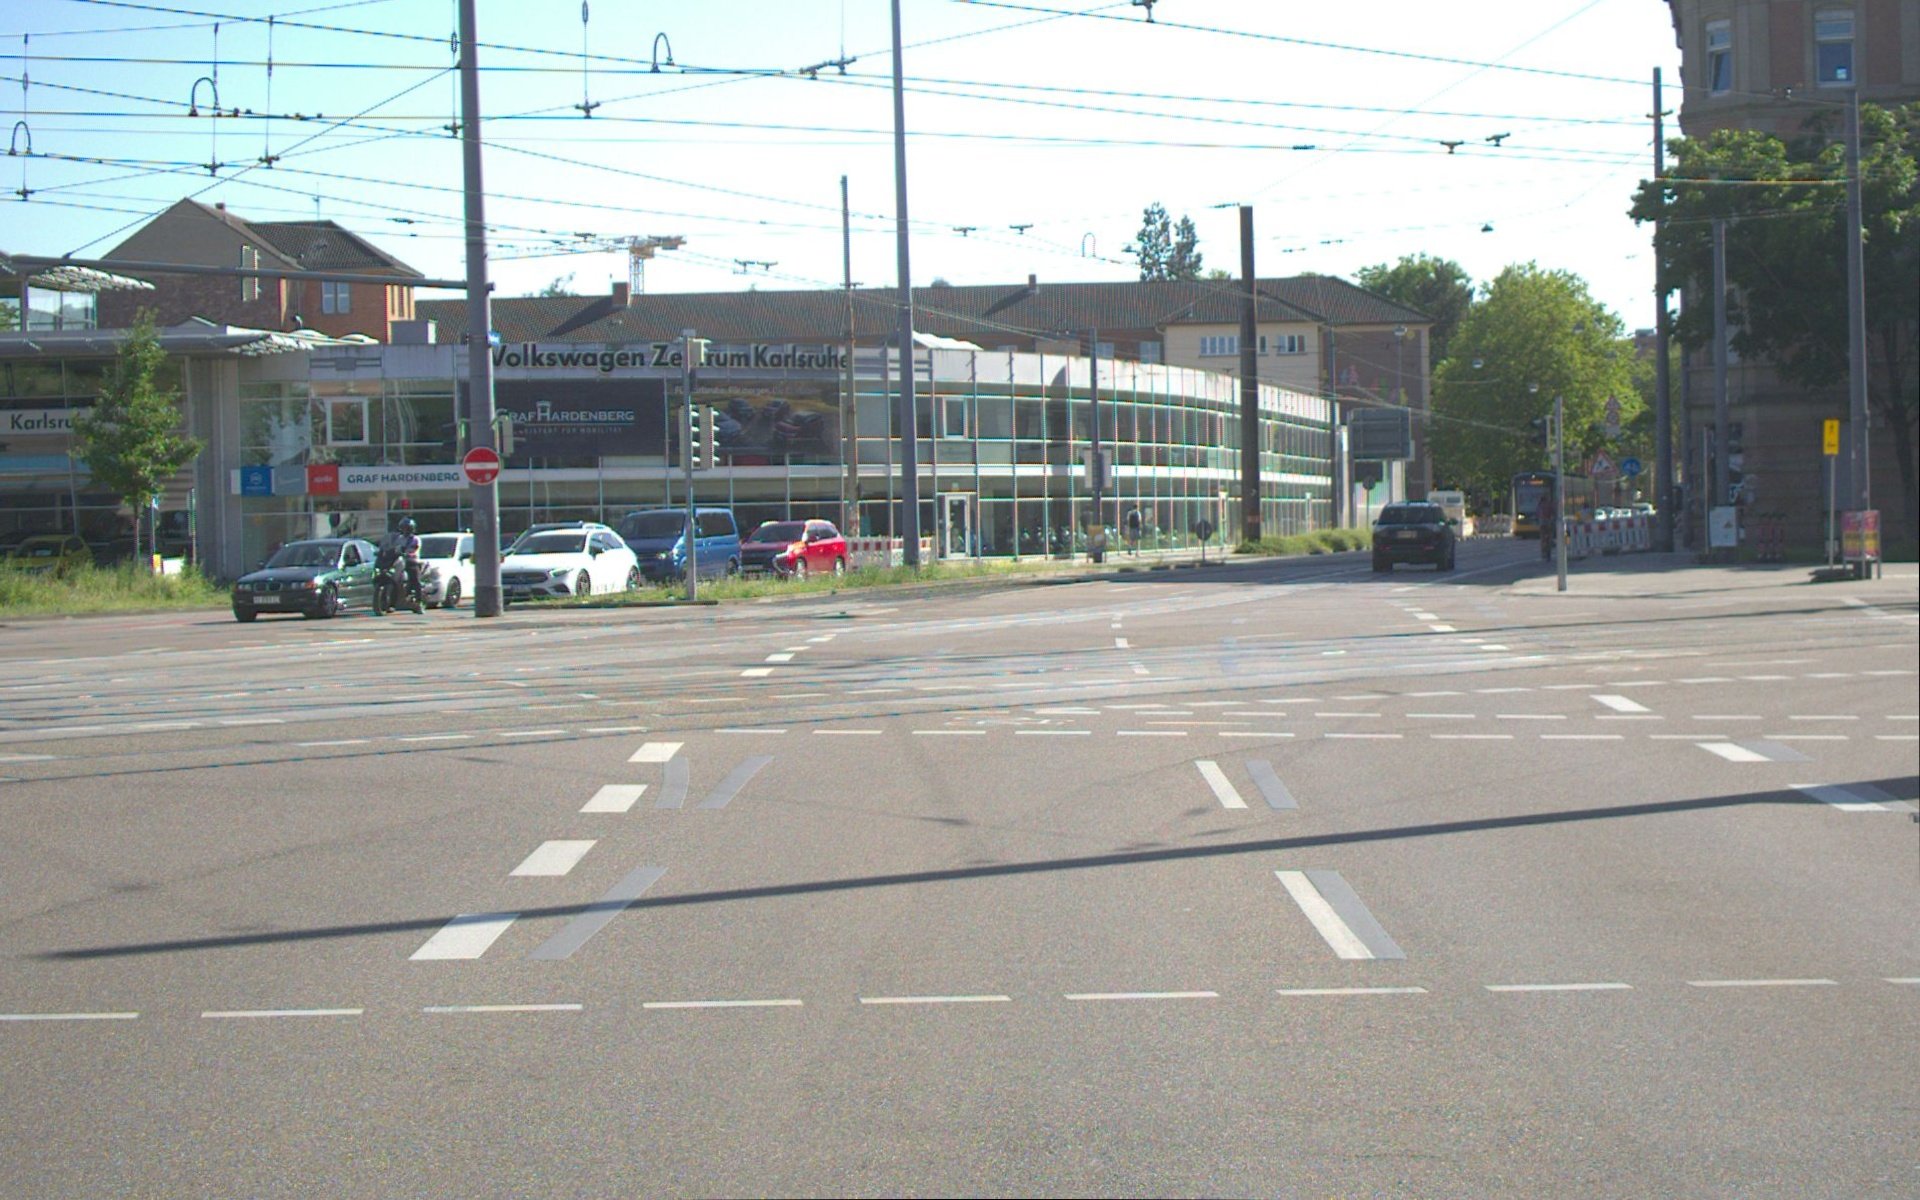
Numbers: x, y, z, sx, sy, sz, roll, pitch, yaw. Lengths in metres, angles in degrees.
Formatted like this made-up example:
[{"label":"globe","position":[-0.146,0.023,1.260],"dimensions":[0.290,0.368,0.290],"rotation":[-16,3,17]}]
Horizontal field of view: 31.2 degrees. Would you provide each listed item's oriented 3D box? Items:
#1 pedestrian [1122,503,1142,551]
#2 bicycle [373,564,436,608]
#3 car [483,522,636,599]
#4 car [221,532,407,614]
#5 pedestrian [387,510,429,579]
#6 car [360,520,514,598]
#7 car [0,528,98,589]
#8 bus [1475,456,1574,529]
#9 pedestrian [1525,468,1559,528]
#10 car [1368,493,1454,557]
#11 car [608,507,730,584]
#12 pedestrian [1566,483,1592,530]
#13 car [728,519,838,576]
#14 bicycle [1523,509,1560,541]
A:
[{"label":"pedestrian","position":[6.135,-2.611,122.801],"dimensions":[0.543,1.683,0.630],"rotation":[-1,1,19]},{"label":"bicycle","position":[-9.744,-0.252,60.348],"dimensions":[0.423,0.715,1.633],"rotation":[-1,1,17]},{"label":"car","position":[-7.529,-0.761,64.943],"dimensions":[1.627,1.377,3.735],"rotation":[-1,1,14]},{"label":"car","position":[-11.397,-0.492,60.873],"dimensions":[1.705,1.349,3.698],"rotation":[-1,1,17]},{"label":"pedestrian","position":[-9.709,-0.977,60.505],"dimensions":[0.423,1.200,0.749],"rotation":[-1,1,17]},{"label":"car","position":[-10.129,-0.816,66.824],"dimensions":[1.627,1.419,3.683],"rotation":[-1,1,14]},{"label":"car","position":[-26.543,-1.229,99.872],"dimensions":[1.966,1.700,4.084],"rotation":[-1,1,-1]},{"label":"bus","position":[31.464,-5.854,190.629],"dimensions":[3.839,3.595,24.852],"rotation":[1,1,13]},{"label":"pedestrian","position":[16.084,-2.810,94.994],"dimensions":[0.803,1.626,0.717],"rotation":[-1,1,18]},{"label":"car","position":[11.057,-1.853,84.068],"dimensions":[1.700,1.497,4.262],"rotation":[-1,1,13]},{"label":"car","position":[-6.654,-1.265,78.955],"dimensions":[1.627,1.686,3.683],"rotation":[-1,1,14]},{"label":"pedestrian","position":[20.195,-3.057,112.167],"dimensions":[0.746,1.517,0.717],"rotation":[-1,1,15]},{"label":"car","position":[-4.406,-1.335,86.082],"dimensions":[1.627,1.359,3.683],"rotation":[-1,1,16]},{"label":"bicycle","position":[16.006,-2.061,94.597],"dimensions":[0.743,0.867,1.929],"rotation":[-1,1,18]}]
